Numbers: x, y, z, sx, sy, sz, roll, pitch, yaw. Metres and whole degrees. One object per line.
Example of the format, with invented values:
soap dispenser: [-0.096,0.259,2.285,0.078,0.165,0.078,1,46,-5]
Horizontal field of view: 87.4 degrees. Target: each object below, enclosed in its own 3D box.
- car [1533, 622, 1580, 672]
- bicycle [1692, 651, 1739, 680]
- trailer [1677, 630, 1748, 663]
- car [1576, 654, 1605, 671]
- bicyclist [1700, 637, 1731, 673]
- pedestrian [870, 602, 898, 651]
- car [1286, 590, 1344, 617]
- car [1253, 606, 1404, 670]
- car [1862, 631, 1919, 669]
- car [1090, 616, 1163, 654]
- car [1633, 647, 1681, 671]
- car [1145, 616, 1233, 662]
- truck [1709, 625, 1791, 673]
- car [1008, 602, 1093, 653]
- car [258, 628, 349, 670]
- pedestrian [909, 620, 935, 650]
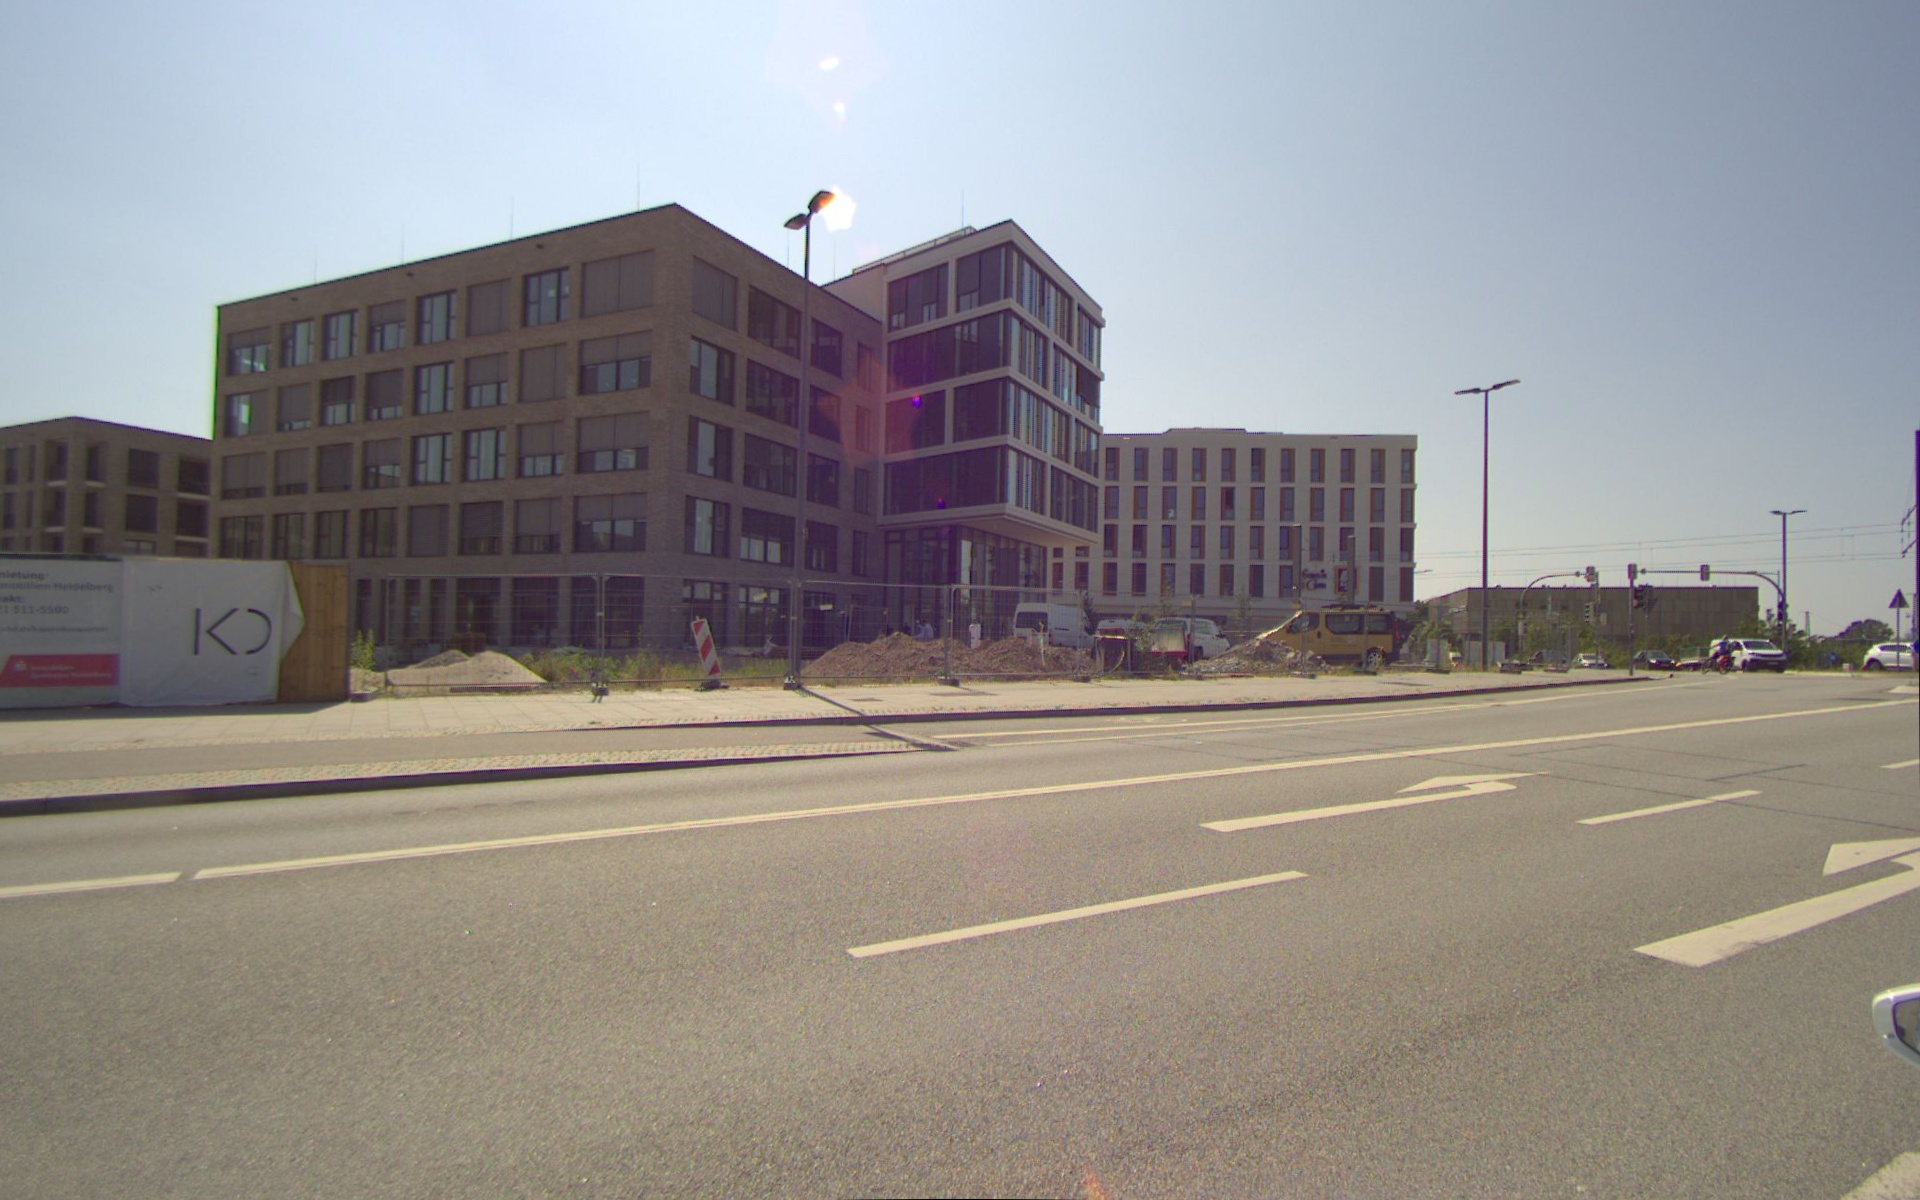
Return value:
car: [26.536,2.039,44.724,1.646,2.040,3.992,2,0,31]
bicycle: [33.068,2.838,44.009,0.624,1.148,2.328,1,-1,9]
trailer: [46.741,2.860,62.524,1.960,1.799,4.288,2,0,14]
car: [51.549,5.100,82.188,1.253,1.257,2.486,1,-1,14]
bicyclist: [33.087,2.409,43.971,0.807,1.524,0.721,2,0,8]
pedestrian: [-3.307,1.138,43.519,0.949,2.040,0.940,2,0,-17]
car: [28.984,0.297,81.981,1.986,2.040,3.949,2,0,-43]
car: [12.265,1.231,33.684,4.395,1.915,2.001,2,0,8]
car: [48.951,2.575,51.411,1.893,1.839,4.047,2,-1,1]
car: [7.288,1.506,43.726,1.773,1.528,3.991,2,0,31]
car: [48.617,4.090,70.115,1.633,1.408,3.788,2,0,17]
car: [9.678,1.599,42.152,1.969,1.730,4.545,2,0,35]
truck: [45.731,2.778,58.280,1.959,2.574,4.711,1,0,14]
car: [4.068,1.215,44.748,2.175,2.083,4.164,2,0,30]
car: [-30.270,2.235,46.294,3.708,1.675,1.834,2,0,26]
pedestrian: [-1.889,1.720,49.481,1.099,1.391,0.742,2,0,-17]
